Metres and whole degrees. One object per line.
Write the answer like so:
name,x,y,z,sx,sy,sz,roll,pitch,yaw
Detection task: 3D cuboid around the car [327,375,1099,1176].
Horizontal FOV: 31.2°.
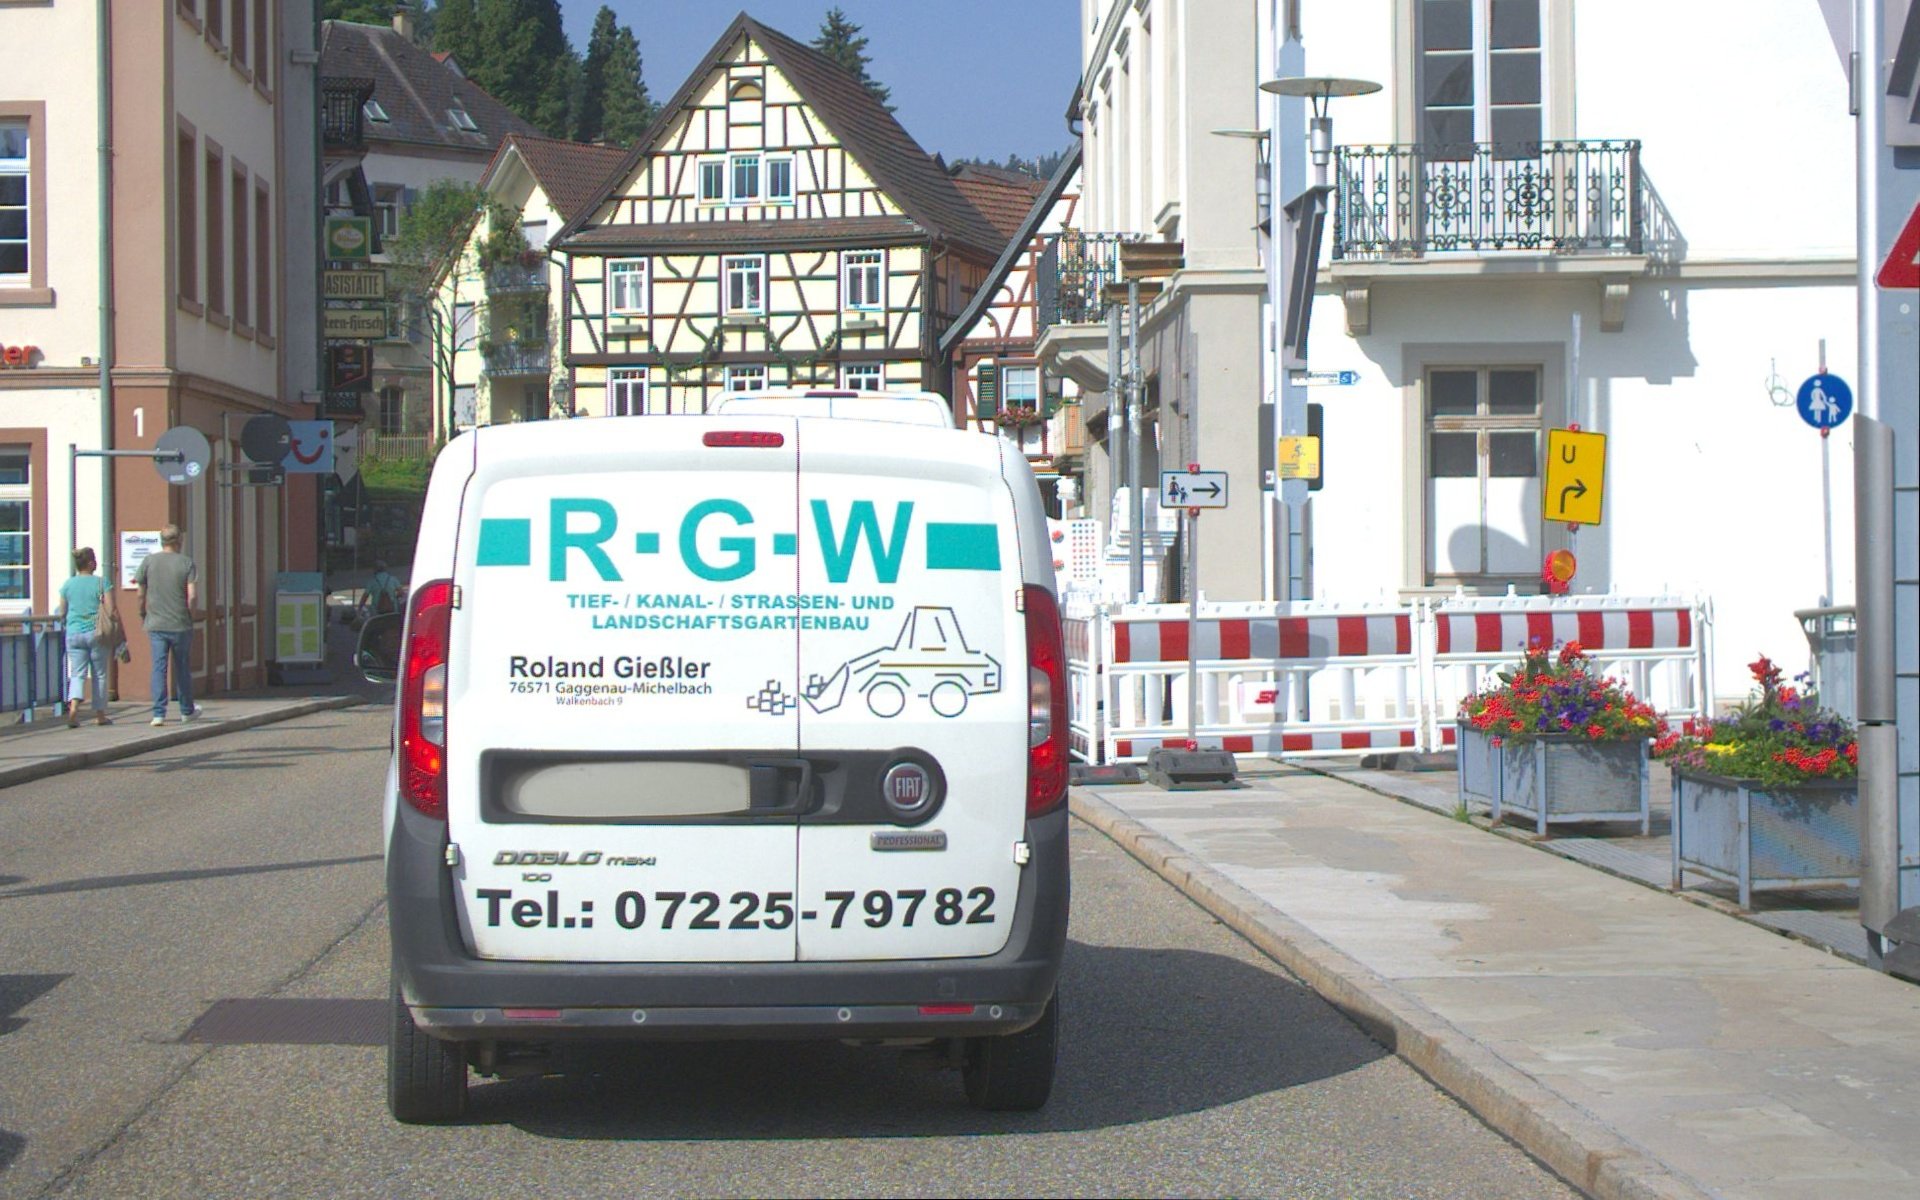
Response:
car,-0.850,0.390,10.405,1.844,1.899,4.316,0,1,-7

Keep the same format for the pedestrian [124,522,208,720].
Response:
pedestrian,-7.190,0.178,31.167,0.614,1.756,0.864,0,1,-5

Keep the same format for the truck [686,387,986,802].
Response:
truck,-0.918,-0.064,23.529,1.861,2.576,4.261,0,1,-4

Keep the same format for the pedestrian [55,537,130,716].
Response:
pedestrian,-7.881,0.233,31.231,0.583,1.604,0.537,0,1,-6

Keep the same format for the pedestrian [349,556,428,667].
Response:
pedestrian,-8.584,0.163,51.664,1.073,1.641,0.686,0,2,-1
